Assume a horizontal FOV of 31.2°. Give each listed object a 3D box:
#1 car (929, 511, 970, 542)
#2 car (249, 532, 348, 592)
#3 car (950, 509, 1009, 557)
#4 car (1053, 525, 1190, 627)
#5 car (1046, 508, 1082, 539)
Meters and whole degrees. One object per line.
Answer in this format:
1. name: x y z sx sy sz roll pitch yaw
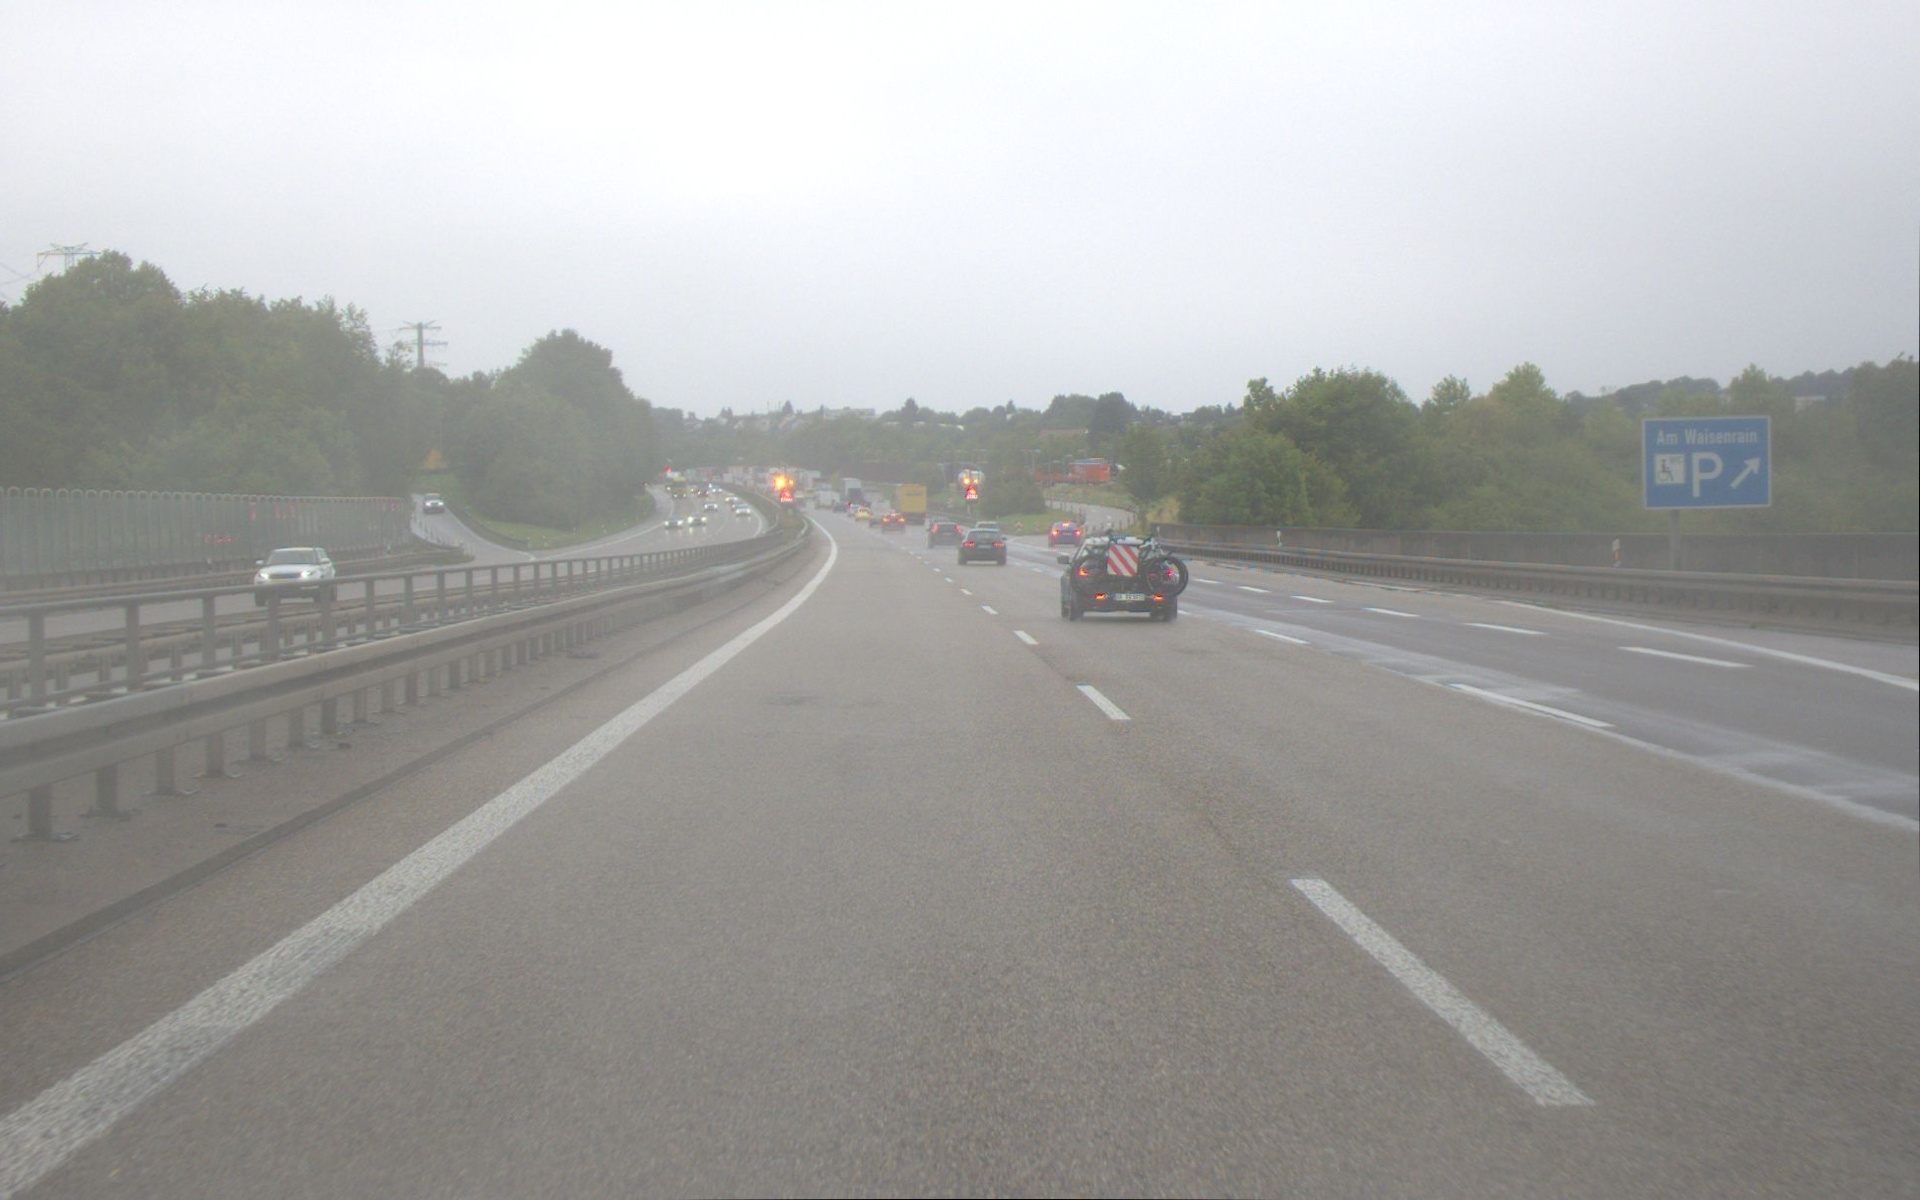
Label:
1. car: -0.591 -4.150 193.133 1.993 1.623 4.001 -2 2 -4
2. car: -18.929 -1.110 98.614 1.993 1.624 4.714 -1 1 -1
3. car: 0.740 -2.630 134.762 1.993 1.755 4.001 -2 2 -4
4. car: 2.728 -0.456 59.129 2.057 1.665 5.522 0 1 0
5. car: 6.035 -4.448 199.519 1.922 1.703 4.000 -1 2 3
